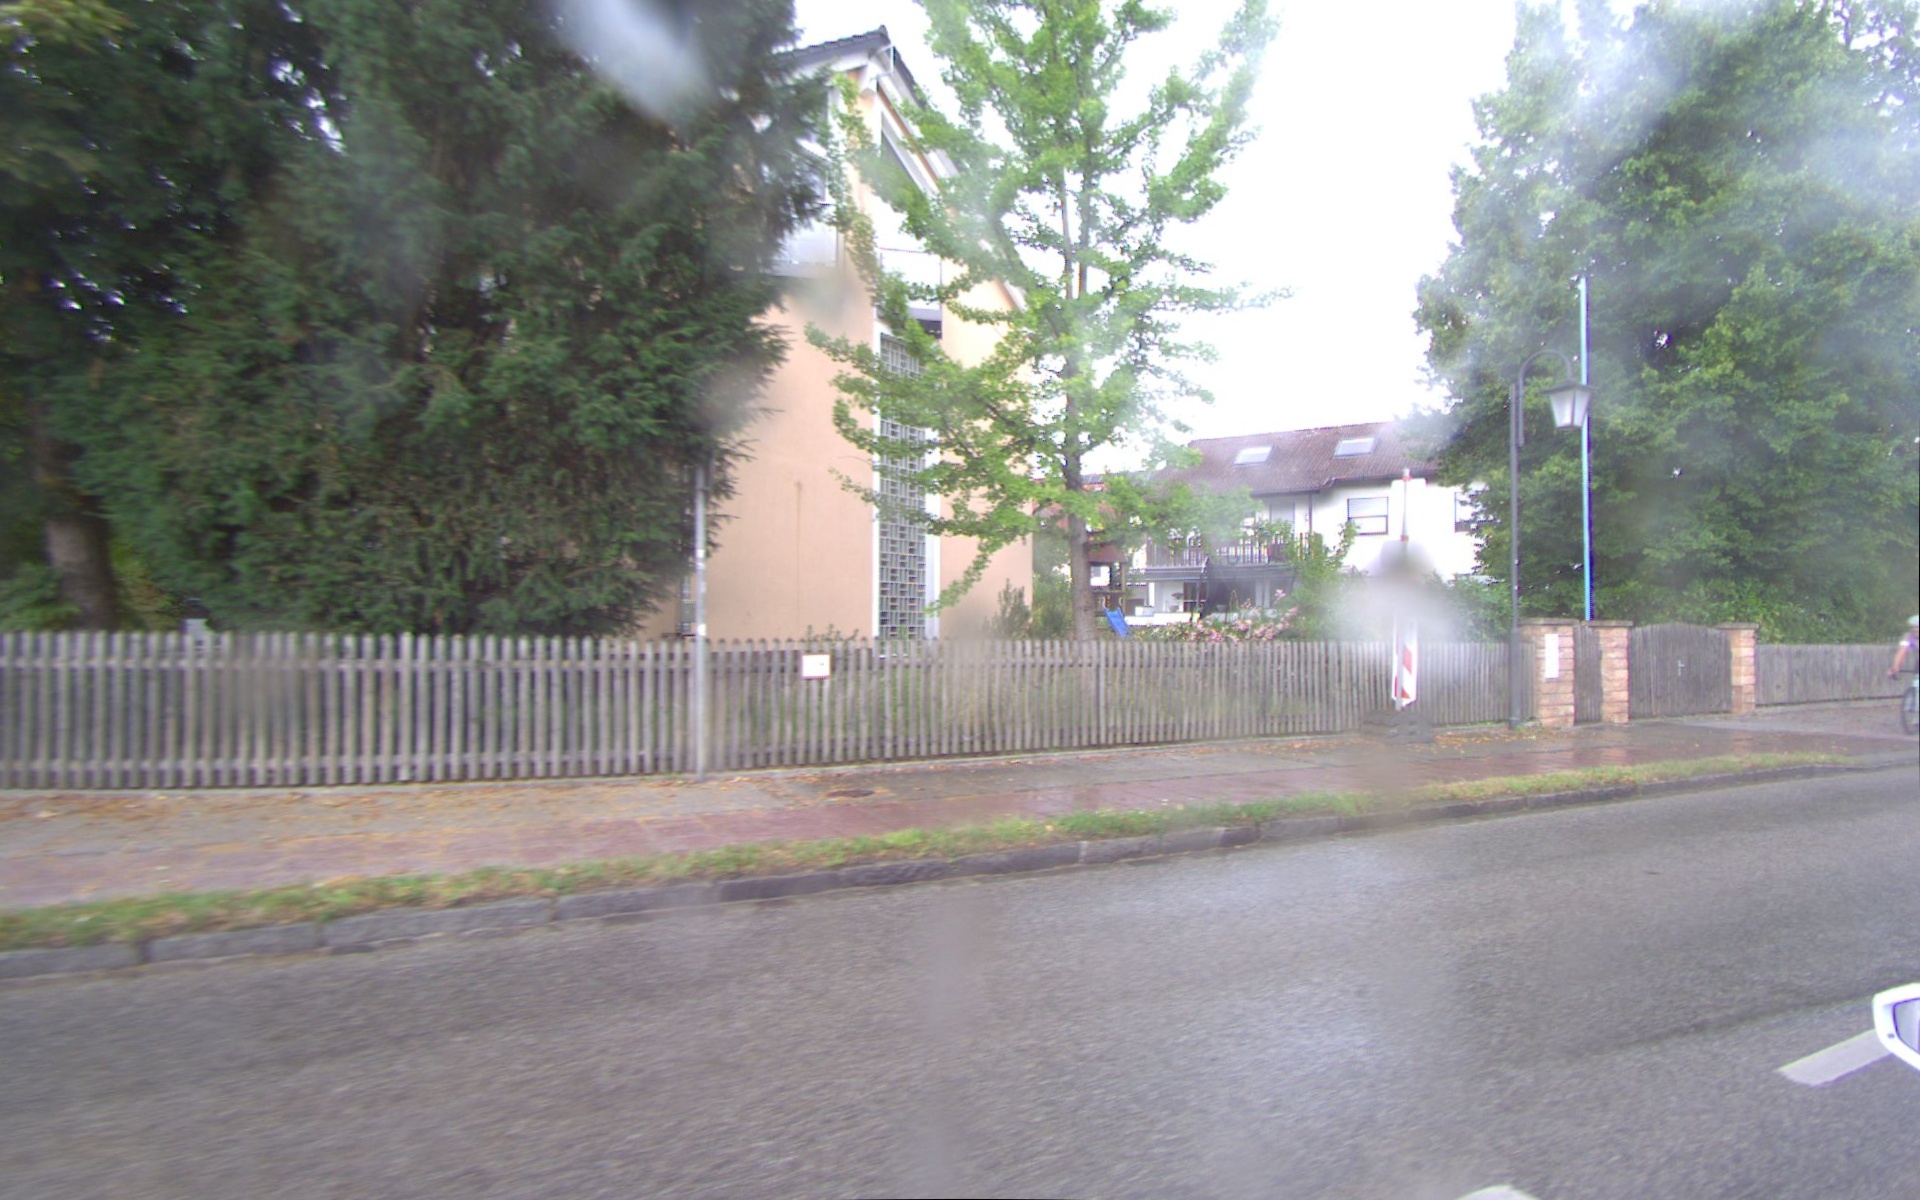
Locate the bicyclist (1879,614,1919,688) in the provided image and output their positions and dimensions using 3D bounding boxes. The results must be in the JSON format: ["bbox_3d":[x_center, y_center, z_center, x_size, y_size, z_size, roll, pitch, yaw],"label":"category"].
[{"bbox_3d":[13.898,0.731,14.537,1.048,1.035,0.584,1,-1,-30],"label":"bicyclist"}]

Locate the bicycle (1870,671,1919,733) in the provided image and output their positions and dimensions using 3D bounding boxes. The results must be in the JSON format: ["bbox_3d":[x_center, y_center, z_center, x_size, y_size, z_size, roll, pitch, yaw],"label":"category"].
[{"bbox_3d":[13.873,1.459,14.557,1.954,0.809,0.454,2,-1,-30],"label":"bicycle"}]
